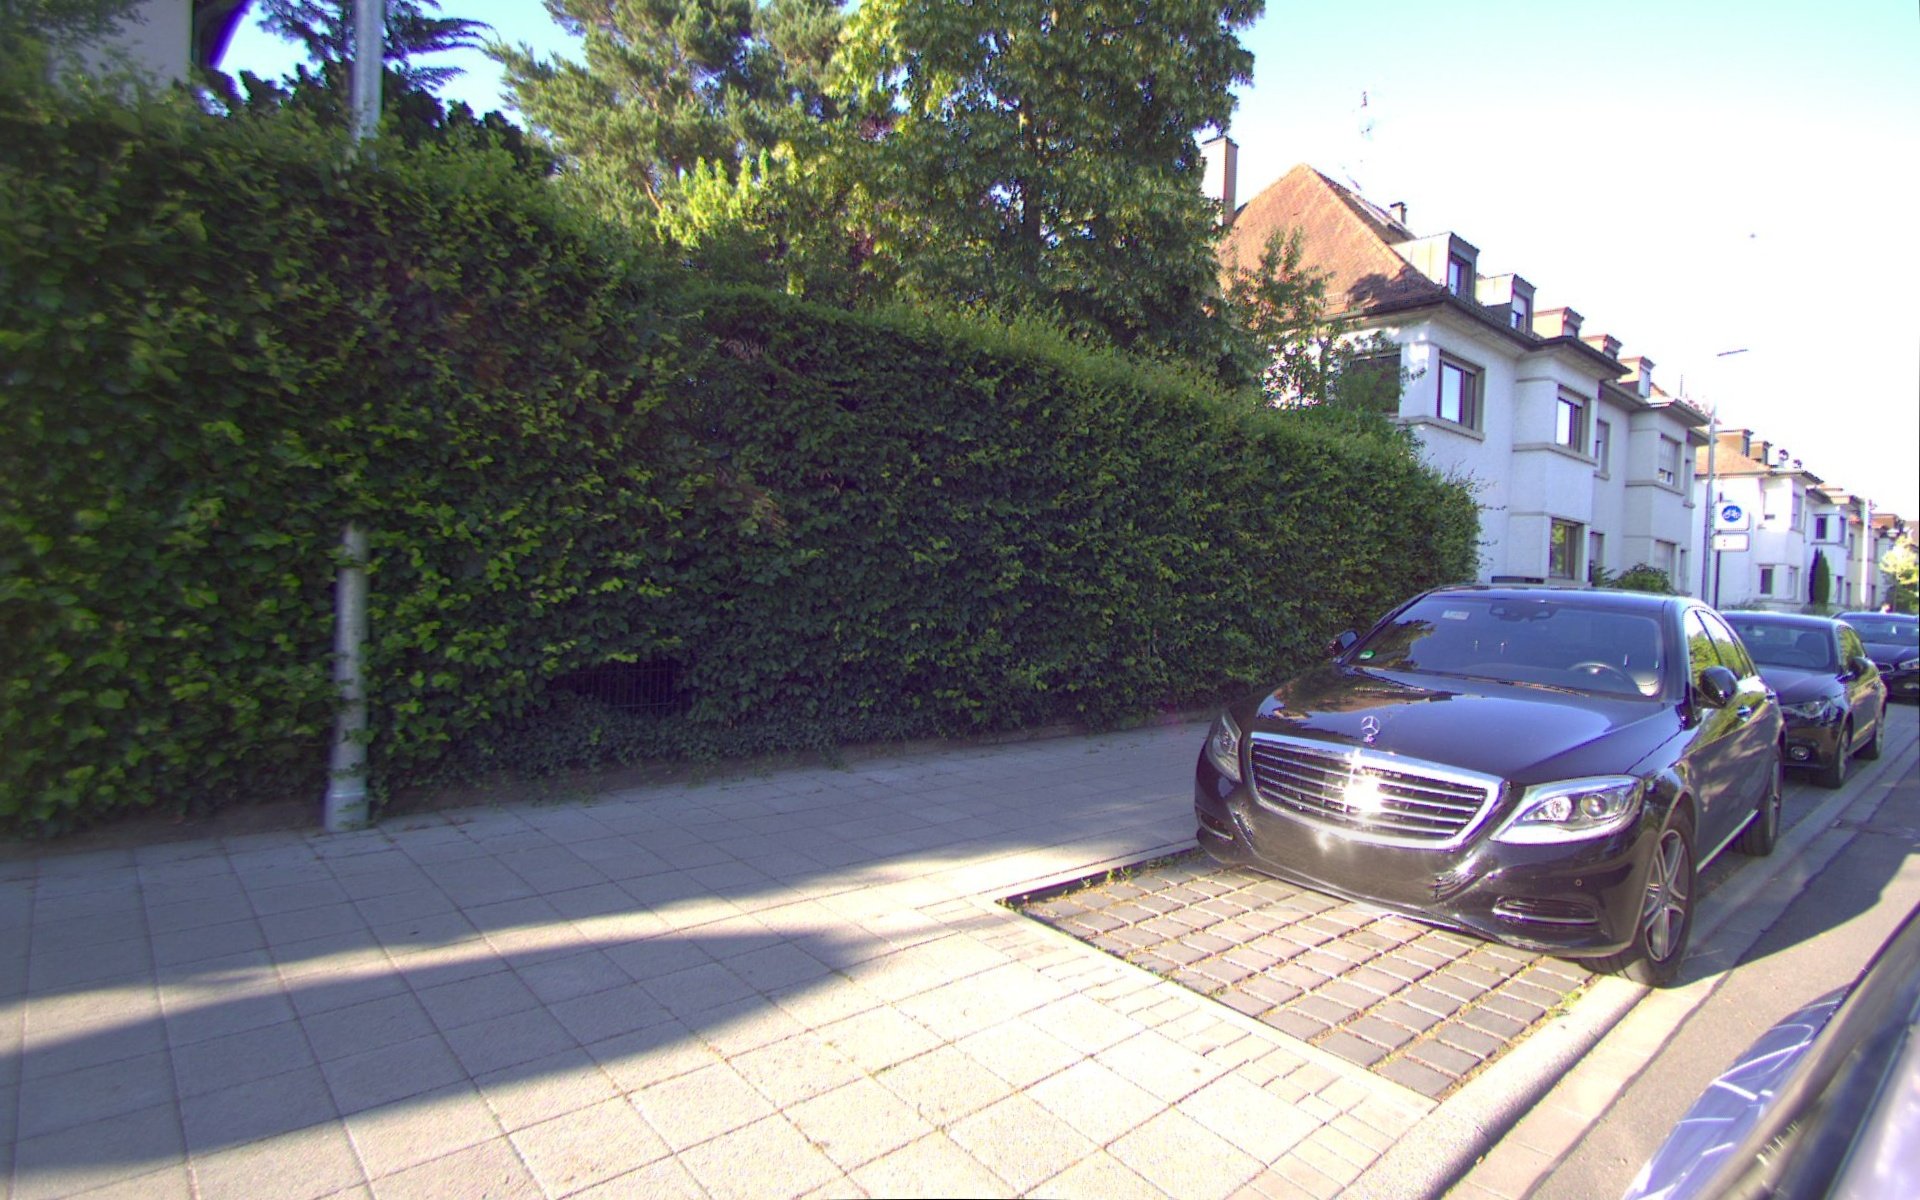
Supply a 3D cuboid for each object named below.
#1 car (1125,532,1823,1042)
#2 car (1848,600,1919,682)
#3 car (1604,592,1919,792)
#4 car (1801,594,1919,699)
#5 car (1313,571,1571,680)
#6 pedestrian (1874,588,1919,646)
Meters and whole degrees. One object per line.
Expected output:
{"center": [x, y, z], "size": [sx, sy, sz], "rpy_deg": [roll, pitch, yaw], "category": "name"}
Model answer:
{"center": [3.122, 0.550, 5.486], "size": [4.792, 1.561, 1.861], "rpy_deg": [0, 3, -44], "category": "car"}
{"center": [19.877, 0.830, 20.989], "size": [3.916, 1.489, 1.721], "rpy_deg": [1, 4, -43], "category": "car"}
{"center": [7.766, 0.720, 9.681], "size": [3.868, 1.445, 1.644], "rpy_deg": [1, 3, -42], "category": "car"}
{"center": [16.027, 0.747, 17.433], "size": [4.183, 1.492, 1.750], "rpy_deg": [1, 5, -43], "category": "car"}
{"center": [8.303, 0.360, 17.620], "size": [3.637, 1.514, 1.752], "rpy_deg": [6, 4, 45], "category": "car"}
{"center": [34.287, 0.593, 37.015], "size": [1.081, 2.038, 0.856], "rpy_deg": [2, 1, 33], "category": "pedestrian"}
